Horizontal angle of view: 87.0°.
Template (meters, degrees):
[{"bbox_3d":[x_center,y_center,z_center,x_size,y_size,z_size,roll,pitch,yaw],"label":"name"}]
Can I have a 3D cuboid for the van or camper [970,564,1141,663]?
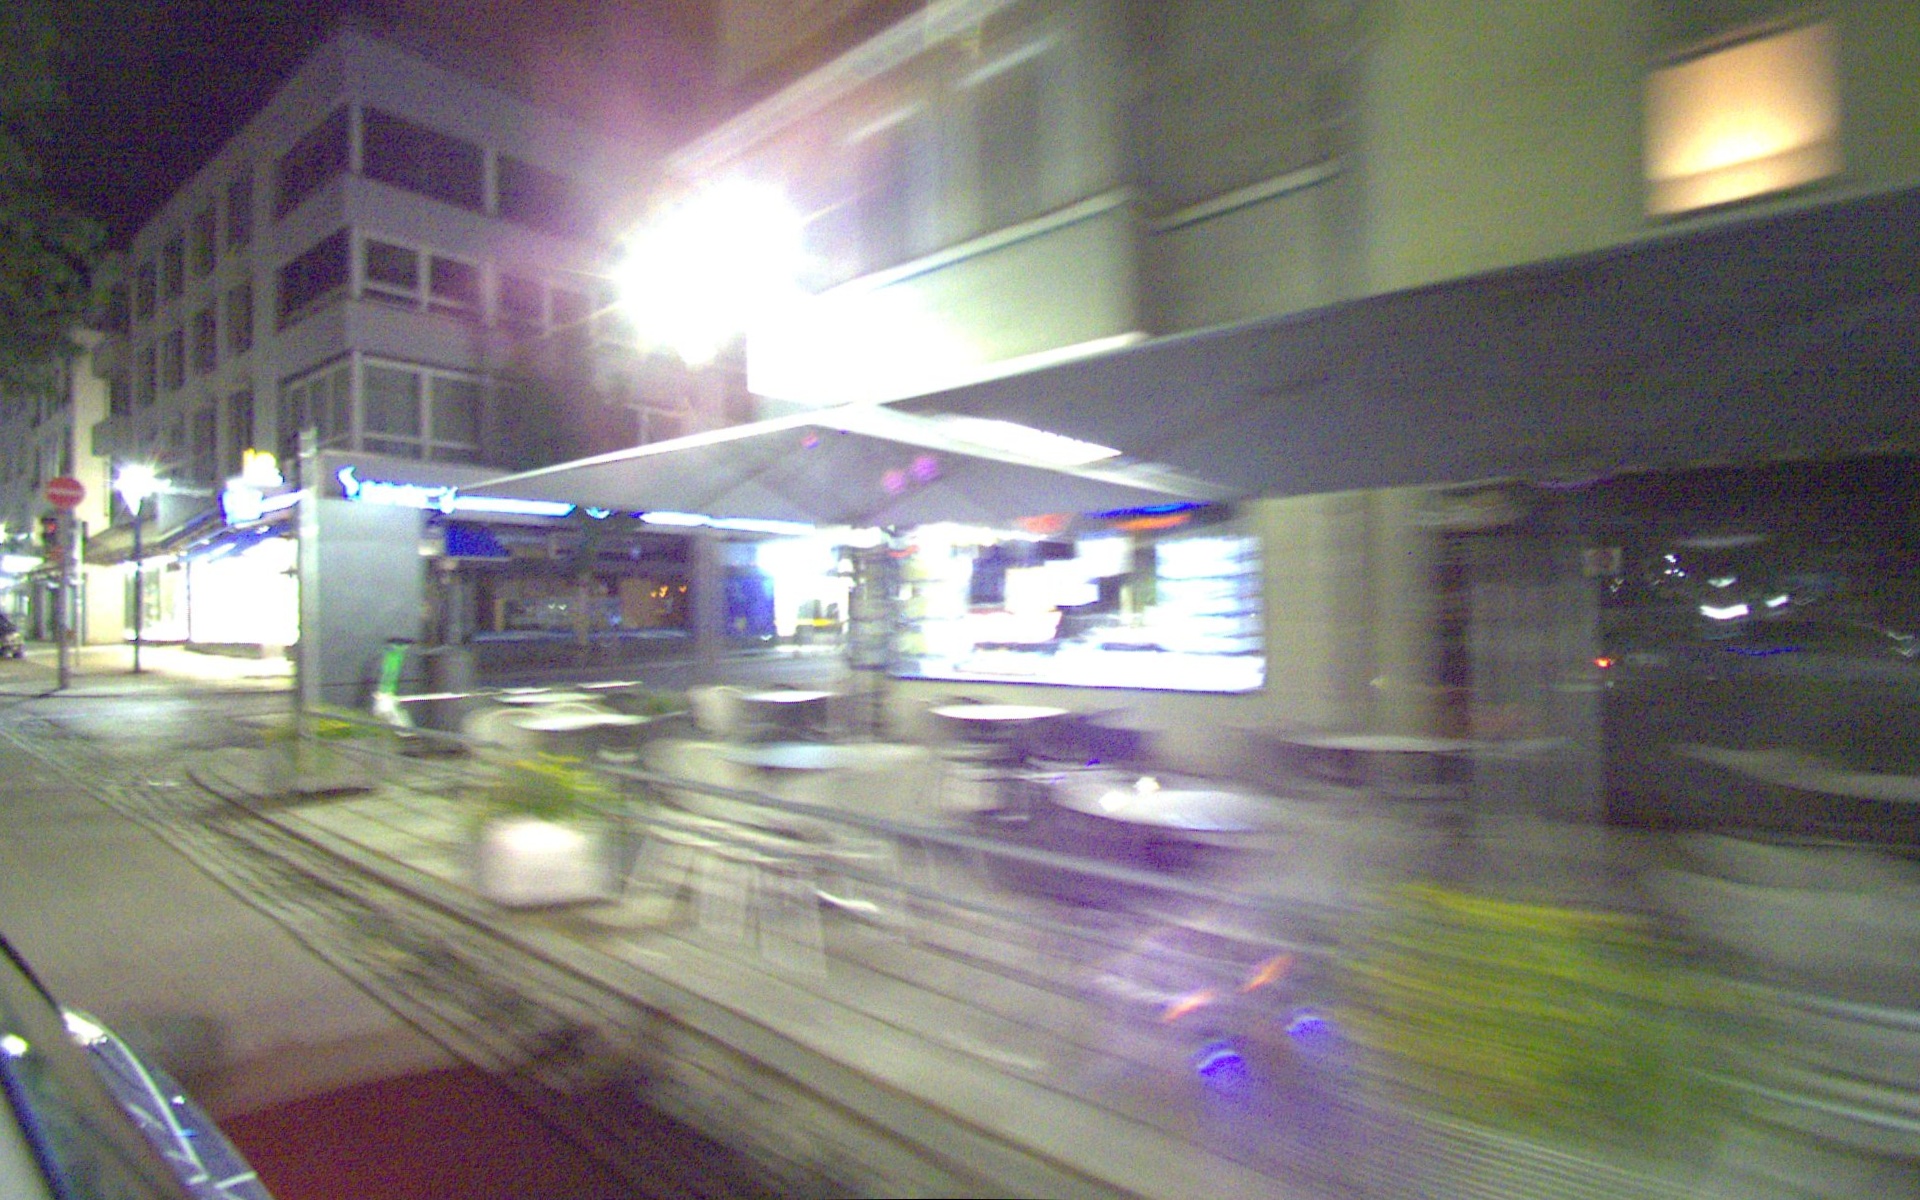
[{"bbox_3d":[2.352,0.350,24.106,2.088,2.144,4.071,-3,-3,39],"label":"van or camper"}]

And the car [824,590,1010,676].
[{"bbox_3d":[-0.779,0.632,20.129,1.796,1.532,3.566,-3,-2,37],"label":"car"}]

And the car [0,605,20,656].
[{"bbox_3d":[-29.145,0.911,29.822,4.011,1.436,1.634,-1,1,40],"label":"car"}]
